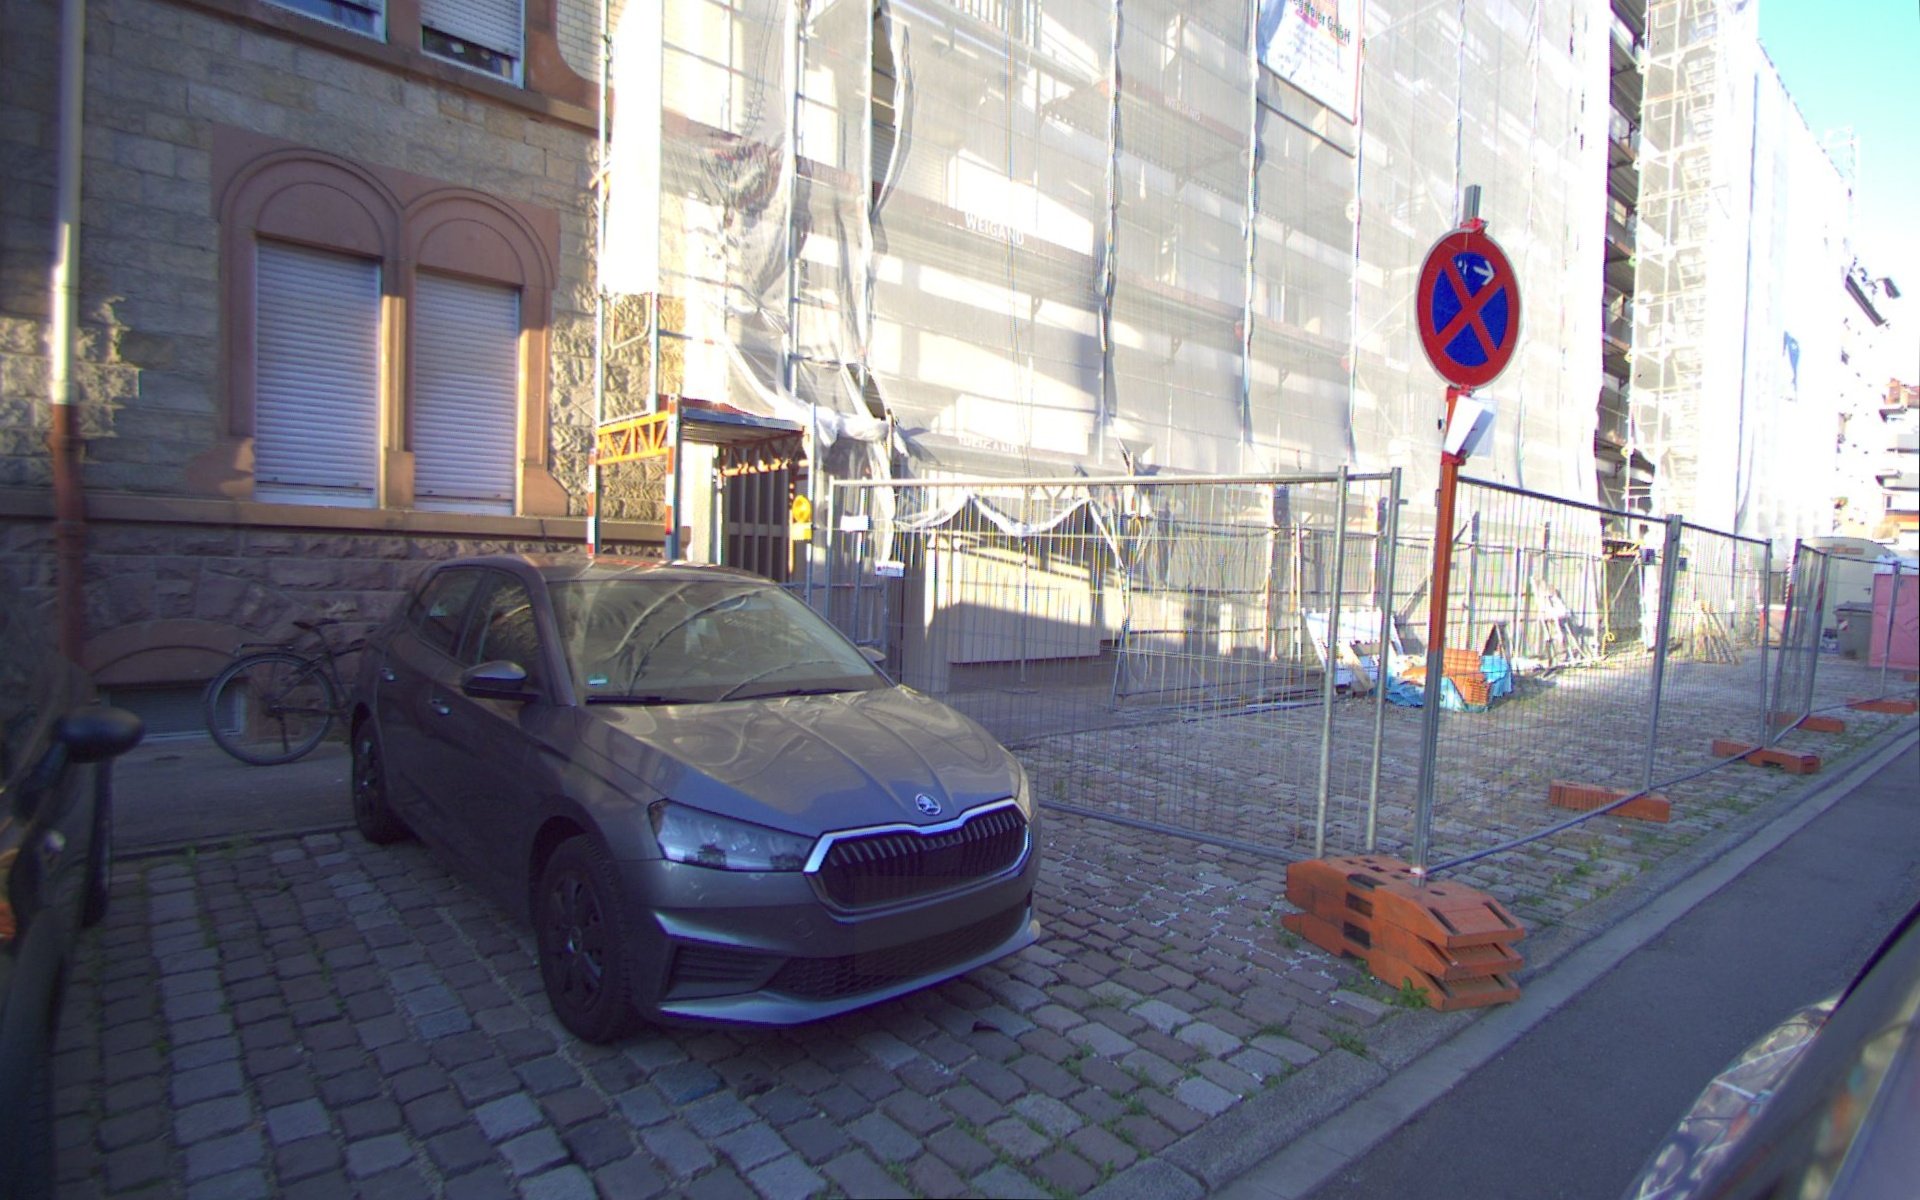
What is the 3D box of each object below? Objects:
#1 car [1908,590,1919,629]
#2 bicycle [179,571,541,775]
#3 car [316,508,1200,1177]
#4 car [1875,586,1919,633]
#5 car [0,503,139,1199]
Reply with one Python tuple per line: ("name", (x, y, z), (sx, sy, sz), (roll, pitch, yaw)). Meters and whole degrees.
("car", (42.428, 0.457, 42.290), (1.871, 1.658, 3.992), (0, 2, -43))
("bicycle", (-3.951, 0.415, 6.821), (0.630, 1.183, 2.003), (1, 1, 43))
("car", (-1.232, 0.450, 4.520), (1.987, 1.533, 3.992), (0, 5, -45))
("car", (35.198, 0.378, 35.634), (1.838, 1.635, 4.164), (0, 2, -39))
("car", (-3.143, 0.510, 2.446), (1.755, 1.503, 3.946), (-2, 5, -39))
